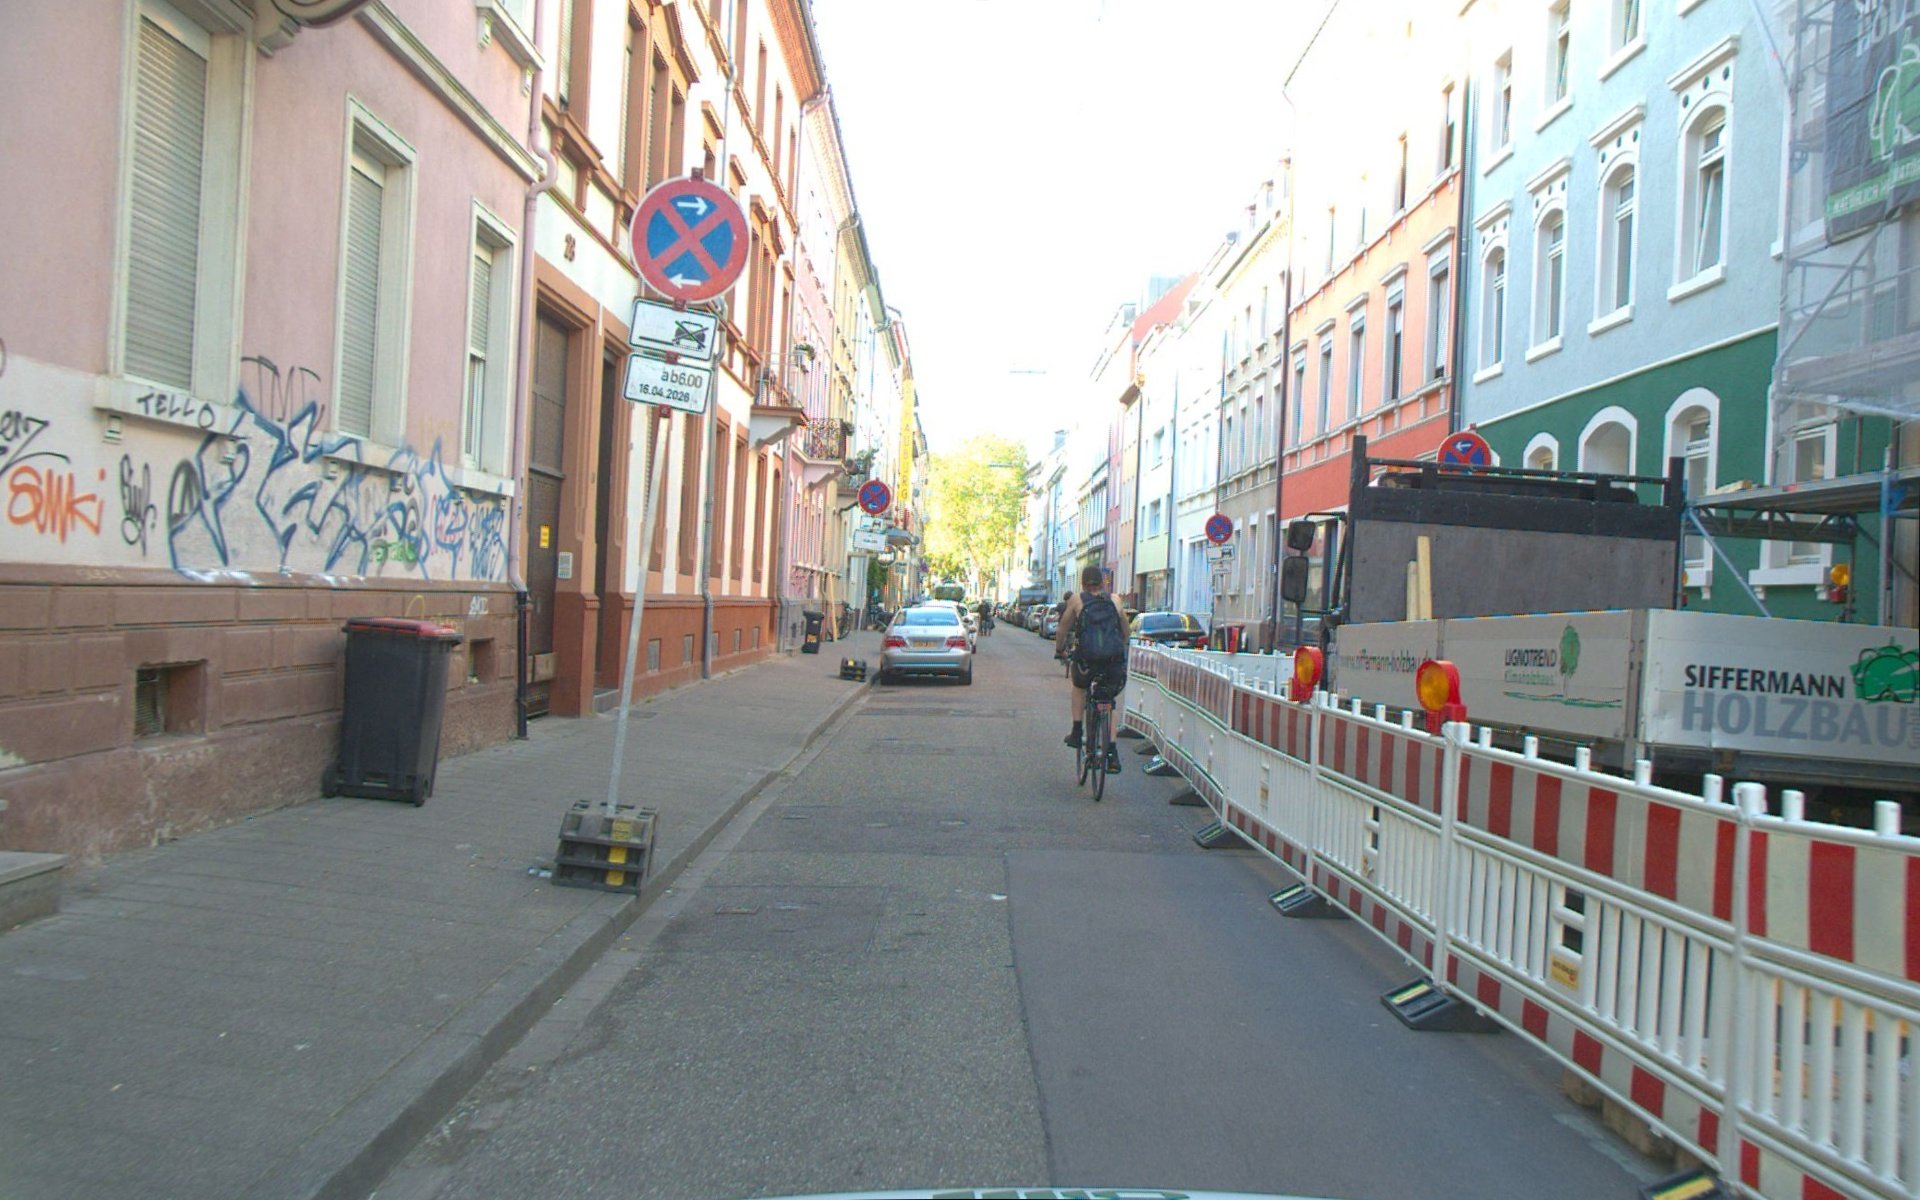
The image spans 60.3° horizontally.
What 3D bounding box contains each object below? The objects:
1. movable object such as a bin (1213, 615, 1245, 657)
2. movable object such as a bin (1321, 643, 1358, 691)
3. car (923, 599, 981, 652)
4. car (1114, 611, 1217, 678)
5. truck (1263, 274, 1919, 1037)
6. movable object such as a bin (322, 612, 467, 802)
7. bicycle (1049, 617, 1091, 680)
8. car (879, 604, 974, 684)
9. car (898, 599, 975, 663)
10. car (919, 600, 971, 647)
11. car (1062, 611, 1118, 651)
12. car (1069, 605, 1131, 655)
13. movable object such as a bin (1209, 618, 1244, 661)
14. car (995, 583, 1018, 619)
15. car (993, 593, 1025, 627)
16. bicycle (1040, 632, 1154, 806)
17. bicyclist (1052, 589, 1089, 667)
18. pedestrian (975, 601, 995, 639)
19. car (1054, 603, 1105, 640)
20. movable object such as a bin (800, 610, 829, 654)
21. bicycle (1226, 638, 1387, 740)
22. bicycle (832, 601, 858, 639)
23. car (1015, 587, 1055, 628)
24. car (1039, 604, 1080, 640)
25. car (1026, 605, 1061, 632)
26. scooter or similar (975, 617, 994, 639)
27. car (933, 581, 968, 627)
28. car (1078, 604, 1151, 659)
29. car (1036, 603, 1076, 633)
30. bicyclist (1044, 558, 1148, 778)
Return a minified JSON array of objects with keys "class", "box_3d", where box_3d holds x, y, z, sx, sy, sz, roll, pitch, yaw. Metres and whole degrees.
[{"class":"movable object such as a bin","box_3d":[7.085,0.946,43.557,0.790,1.094,0.678,0,-1,4]},{"class":"movable object such as a bin","box_3d":[7.424,1.301,32.374,0.585,0.922,0.579,0,-1,-2]},{"class":"car","box_3d":[-0.244,0.733,48.917,1.638,1.467,4.165,1,-1,0]},{"class":"car","box_3d":[4.745,0.994,38.718,1.780,1.464,4.790,1,-1,0]},{"class":"truck","box_3d":[3.901,0.293,10.076,2.607,2.863,7.392,4,-1,0]},{"class":"movable object such as a bin","box_3d":[-3.334,0.615,9.790,0.593,1.053,0.596,4,-1,-2]},{"class":"bicycle","box_3d":[2.347,1.017,35.499,0.687,1.229,2.342,2,1,-1]},{"class":"car","box_3d":[-0.602,0.797,31.526,1.675,1.407,4.505,1,-1,0]},{"class":"car","box_3d":[-0.547,0.736,42.137,1.675,1.407,4.357,3,1,2]},{"class":"car","box_3d":[-0.485,0.771,54.652,1.638,1.467,3.767,1,-1,0]},{"class":"car","box_3d":[4.687,1.107,60.177,1.675,1.407,3.999,1,-1,0]},{"class":"car","box_3d":[4.627,0.969,55.120,1.675,1.583,3.999,1,-1,0]},{"class":"movable object such as a bin","box_3d":[6.846,1.000,42.465,0.722,1.094,0.676,0,-1,-7]},{"class":"car","box_3d":[5.037,0.085,180.505,2.260,3.834,6.769,1,-1,0]},{"class":"car","box_3d":[3.902,0.807,133.108,2.260,2.582,6.769,1,-1,0]},{"class":"bicycle","box_3d":[1.063,0.901,13.350,0.687,1.229,2.342,2,-1,0]},{"class":"bicyclist","box_3d":[2.366,0.591,35.386,0.687,1.633,0.812,2,1,-1]},{"class":"pedestrian","box_3d":[1.091,0.875,73.071,0.755,1.606,0.900,4,-1,-2]},{"class":"car","box_3d":[4.715,0.841,65.634,1.675,1.407,3.999,2,-1,0]},{"class":"movable object such as a bin","box_3d":[-3.283,0.717,37.288,0.532,0.961,0.487,4,-1,1]},{"class":"bicycle","box_3d":[4.334,1.112,20.734,1.814,1.129,0.643,4,-1,-7]},{"class":"bicycle","box_3d":[-3.506,0.604,50.505,0.580,1.107,2.079,4,-1,0]},{"class":"car","box_3d":[4.824,0.507,107.700,2.260,2.582,6.769,1,-1,0]},{"class":"car","box_3d":[4.514,0.986,75.184,1.587,1.577,3.999,1,-1,0]},{"class":"car","box_3d":[4.623,1.028,92.027,1.675,1.473,3.999,1,-1,0]},{"class":"scooter or similar","box_3d":[1.088,1.227,72.633,0.755,0.888,0.770,4,-1,-2]},{"class":"car","box_3d":[-0.575,0.219,96.426,1.871,2.540,4.163,2,0,-2]},{"class":"car","box_3d":[4.586,0.926,49.508,1.780,1.548,3.999,1,-1,0]},{"class":"car","box_3d":[4.632,0.881,80.397,1.675,1.418,3.999,1,-1,0]},{"class":"bicyclist","box_3d":[1.070,0.525,13.225,0.687,1.662,1.090,2,-1,0]}]
